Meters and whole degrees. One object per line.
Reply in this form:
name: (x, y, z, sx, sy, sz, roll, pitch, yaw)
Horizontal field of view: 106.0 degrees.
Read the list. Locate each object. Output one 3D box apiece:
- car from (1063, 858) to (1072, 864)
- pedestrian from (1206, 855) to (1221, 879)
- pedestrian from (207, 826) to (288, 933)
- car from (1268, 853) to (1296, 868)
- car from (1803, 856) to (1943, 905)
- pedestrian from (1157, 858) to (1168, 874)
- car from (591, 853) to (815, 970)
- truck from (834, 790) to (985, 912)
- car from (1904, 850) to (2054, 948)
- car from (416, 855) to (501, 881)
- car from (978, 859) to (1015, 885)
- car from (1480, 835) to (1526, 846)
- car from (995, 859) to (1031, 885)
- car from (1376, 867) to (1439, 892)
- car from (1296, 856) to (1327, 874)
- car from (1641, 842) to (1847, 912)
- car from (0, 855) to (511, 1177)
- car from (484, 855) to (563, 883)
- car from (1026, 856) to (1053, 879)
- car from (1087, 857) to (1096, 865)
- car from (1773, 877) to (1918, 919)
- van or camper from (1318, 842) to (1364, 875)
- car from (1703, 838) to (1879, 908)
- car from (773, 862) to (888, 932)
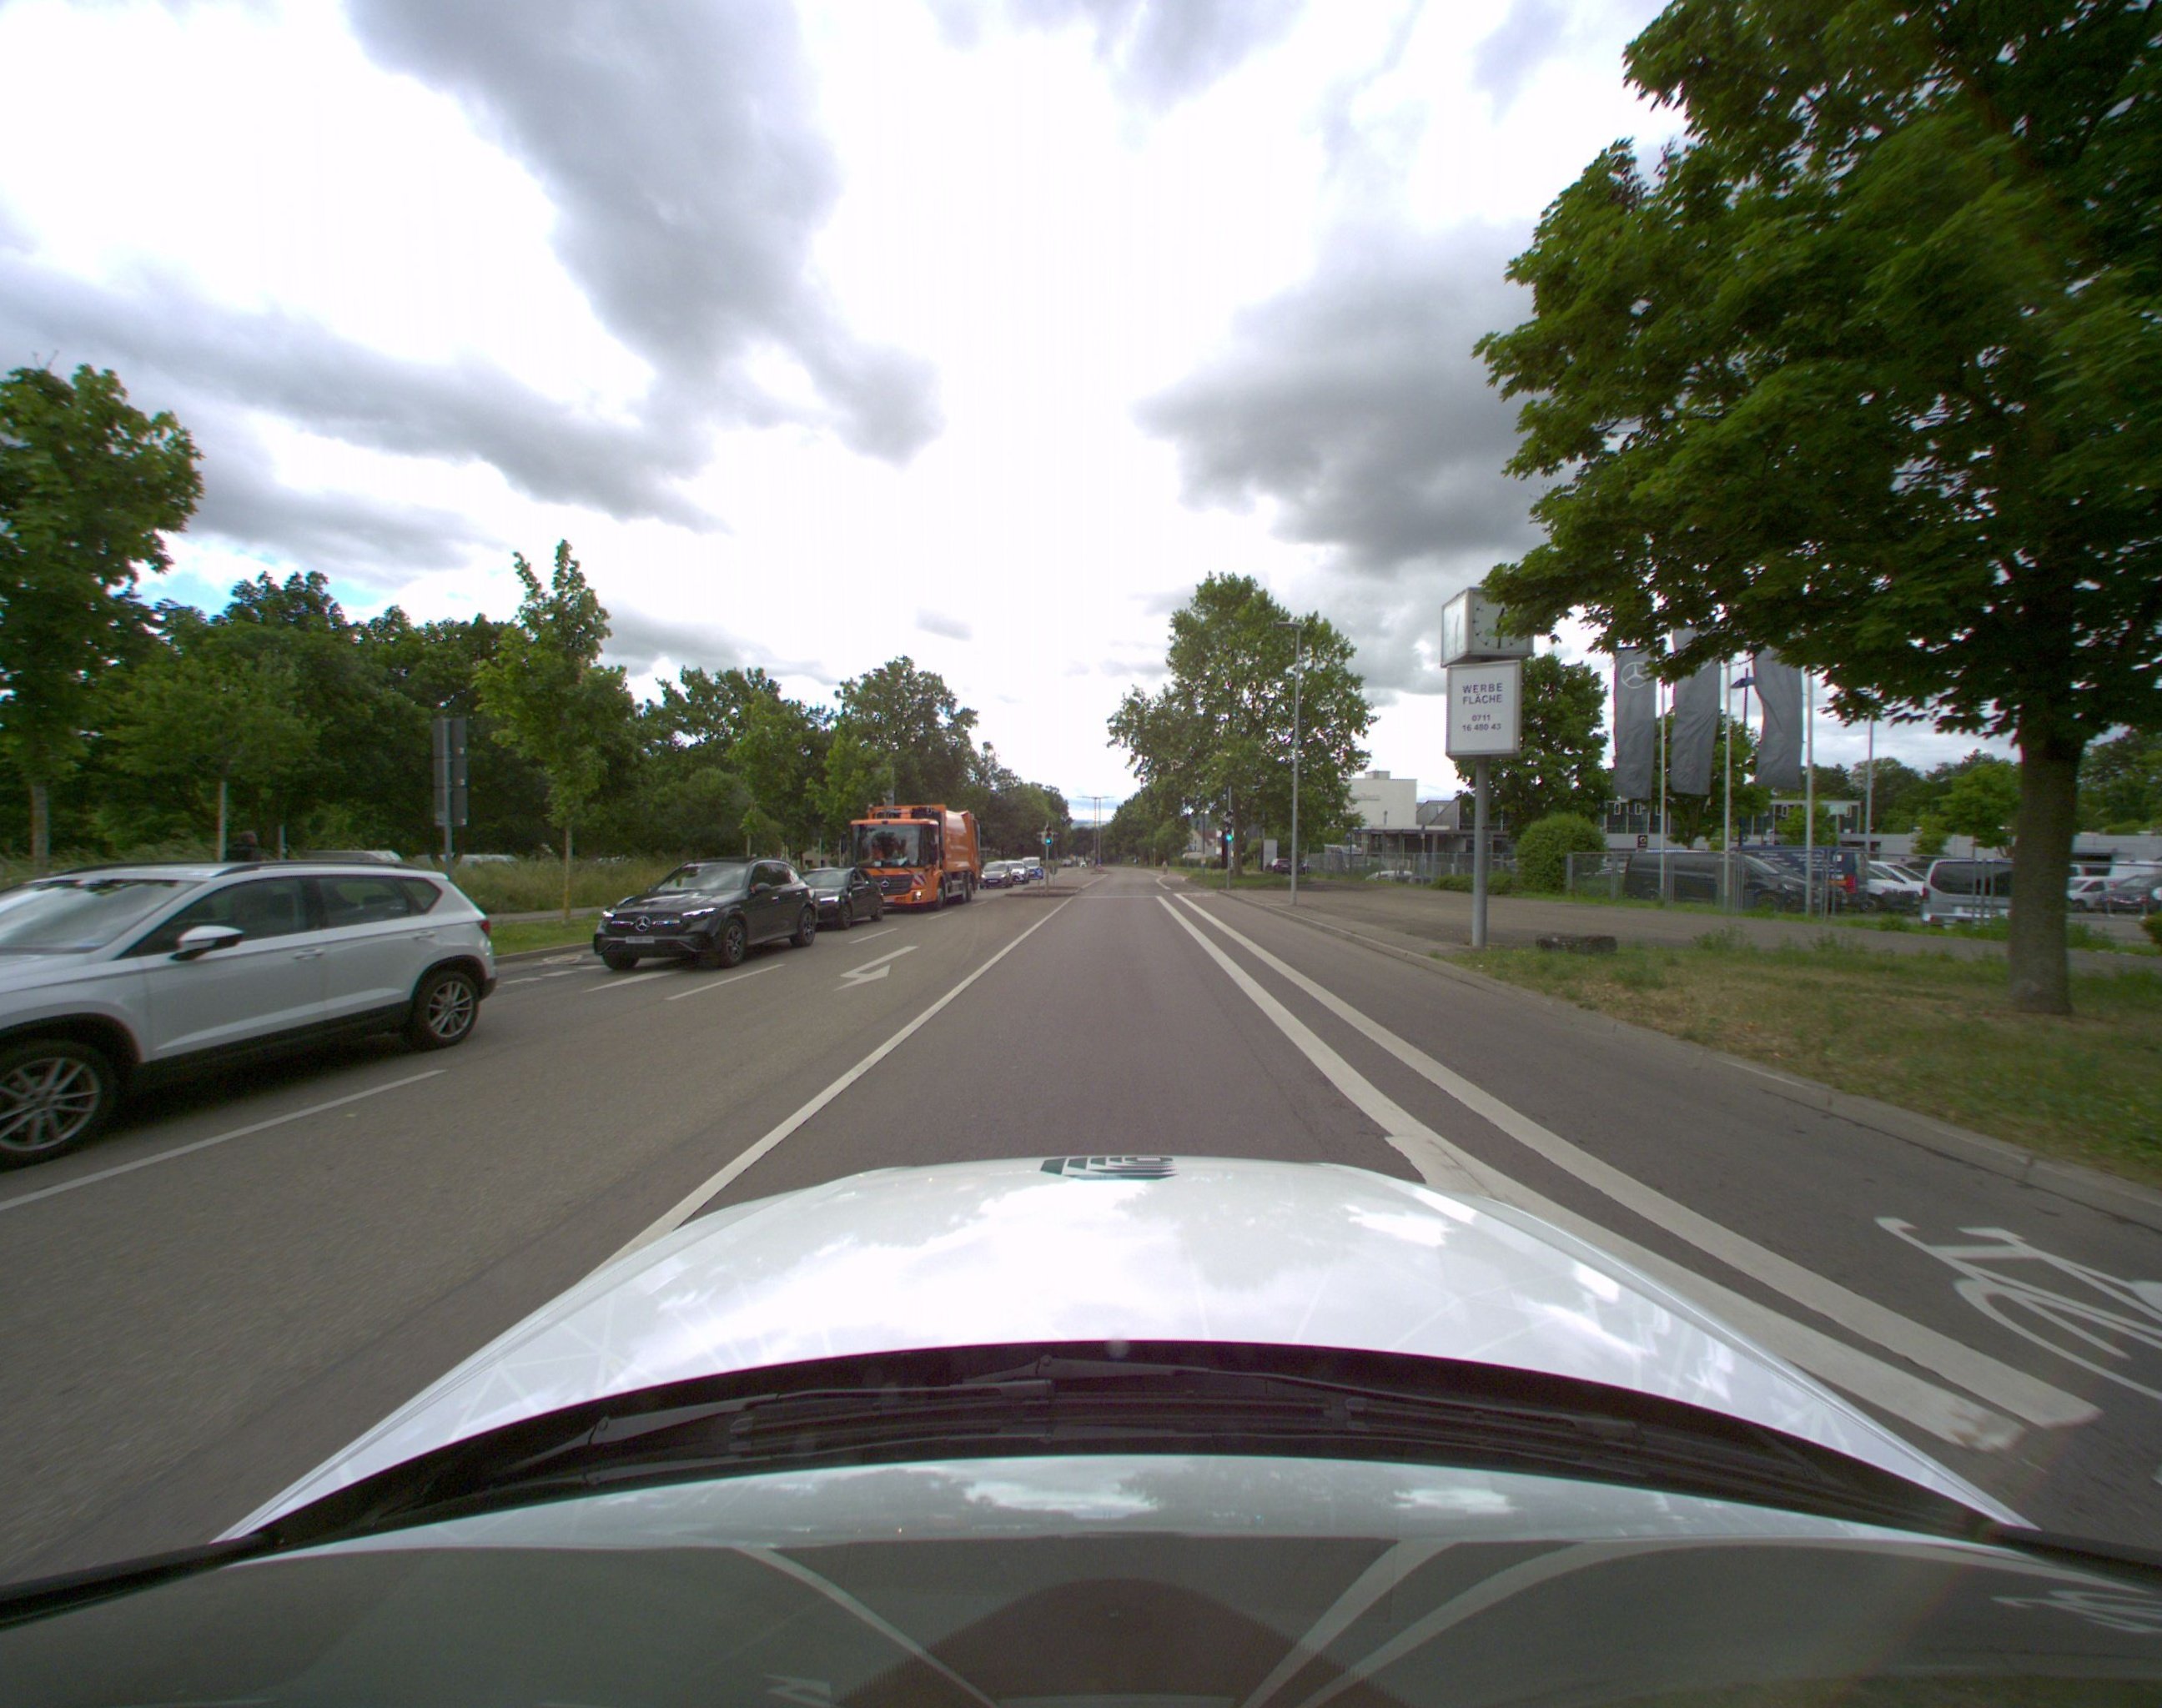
car: (-3.087, 1.469, 180.549, 1.765, 1.304, 4.002, 0, 0, 2)
pedestrian: (10.030, 1.003, 61.671, 0.739, 1.801, 0.867, 0, 0, 37)
pedestrian: (-14.735, 0.438, 14.418, 0.718, 1.835, 0.678, 0, 0, 2)
car: (18.034, 0.584, 73.296, 1.703, 1.354, 4.347, 0, 0, 3)
car: (30.400, 0.964, 31.409, 1.624, 1.756, 3.579, 0, 0, -14)
pedestrian: (7.608, 1.133, 76.067, 0.790, 1.463, 0.745, 0, 0, -17)
car: (-5.883, 0.792, 13.263, 1.633, 1.585, 4.062, 0, 0, 2)
truck: (-5.499, -0.127, 28.359, 2.695, 3.487, 10.002, 0, 0, 3)
car: (20.808, 0.933, 18.831, 4.018, 2.025, 1.978, 0, 0, -37)
car: (-48.108, 1.064, 62.992, 4.951, 2.013, 1.999, 0, 0, -1)
car: (-4.729, 0.992, 45.921, 1.541, 1.331, 3.655, -2, 0, 2)
car: (39.094, -1.242, 75.490, 3.626, 0.978, 1.413, 0, 0, 1)
car: (-4.427, 1.148, 53.908, 1.839, 1.520, 4.816, -2, 0, 1)
car: (22.673, 1.756, 56.674, 3.724, 1.618, 1.690, 0, 0, -3)
car: (20.750, 0.927, 73.413, 1.703, 1.508, 4.347, 2, 0, 3)
car: (21.101, 0.673, 26.141, 2.006, 2.025, 4.750, 0, 0, -31)
car: (-6.260, 0.821, 5.511, 1.724, 1.585, 4.225, 0, 0, 2)
car: (-45.142, 1.188, 65.989, 4.954, 2.190, 1.998, 0, 0, -3)
car: (-3.355, 1.067, 66.530, 1.839, 1.803, 4.651, -2, 0, 1)
car: (1.945, 1.304, 150.226, 1.605, 1.304, 4.002, 0, 0, 2)
car: (27.782, 1.553, 29.695, 1.631, 1.349, 3.562, 0, 0, -30)
van or camper: (23.415, 0.392, 73.689, 1.959, 2.868, 6.919, 0, 0, 0)
car: (25.384, 0.621, 29.293, 2.006, 2.326, 4.385, 0, 0, -30)
car: (-5.887, 0.945, 19.563, 1.428, 1.457, 3.896, 0, 0, 2)
